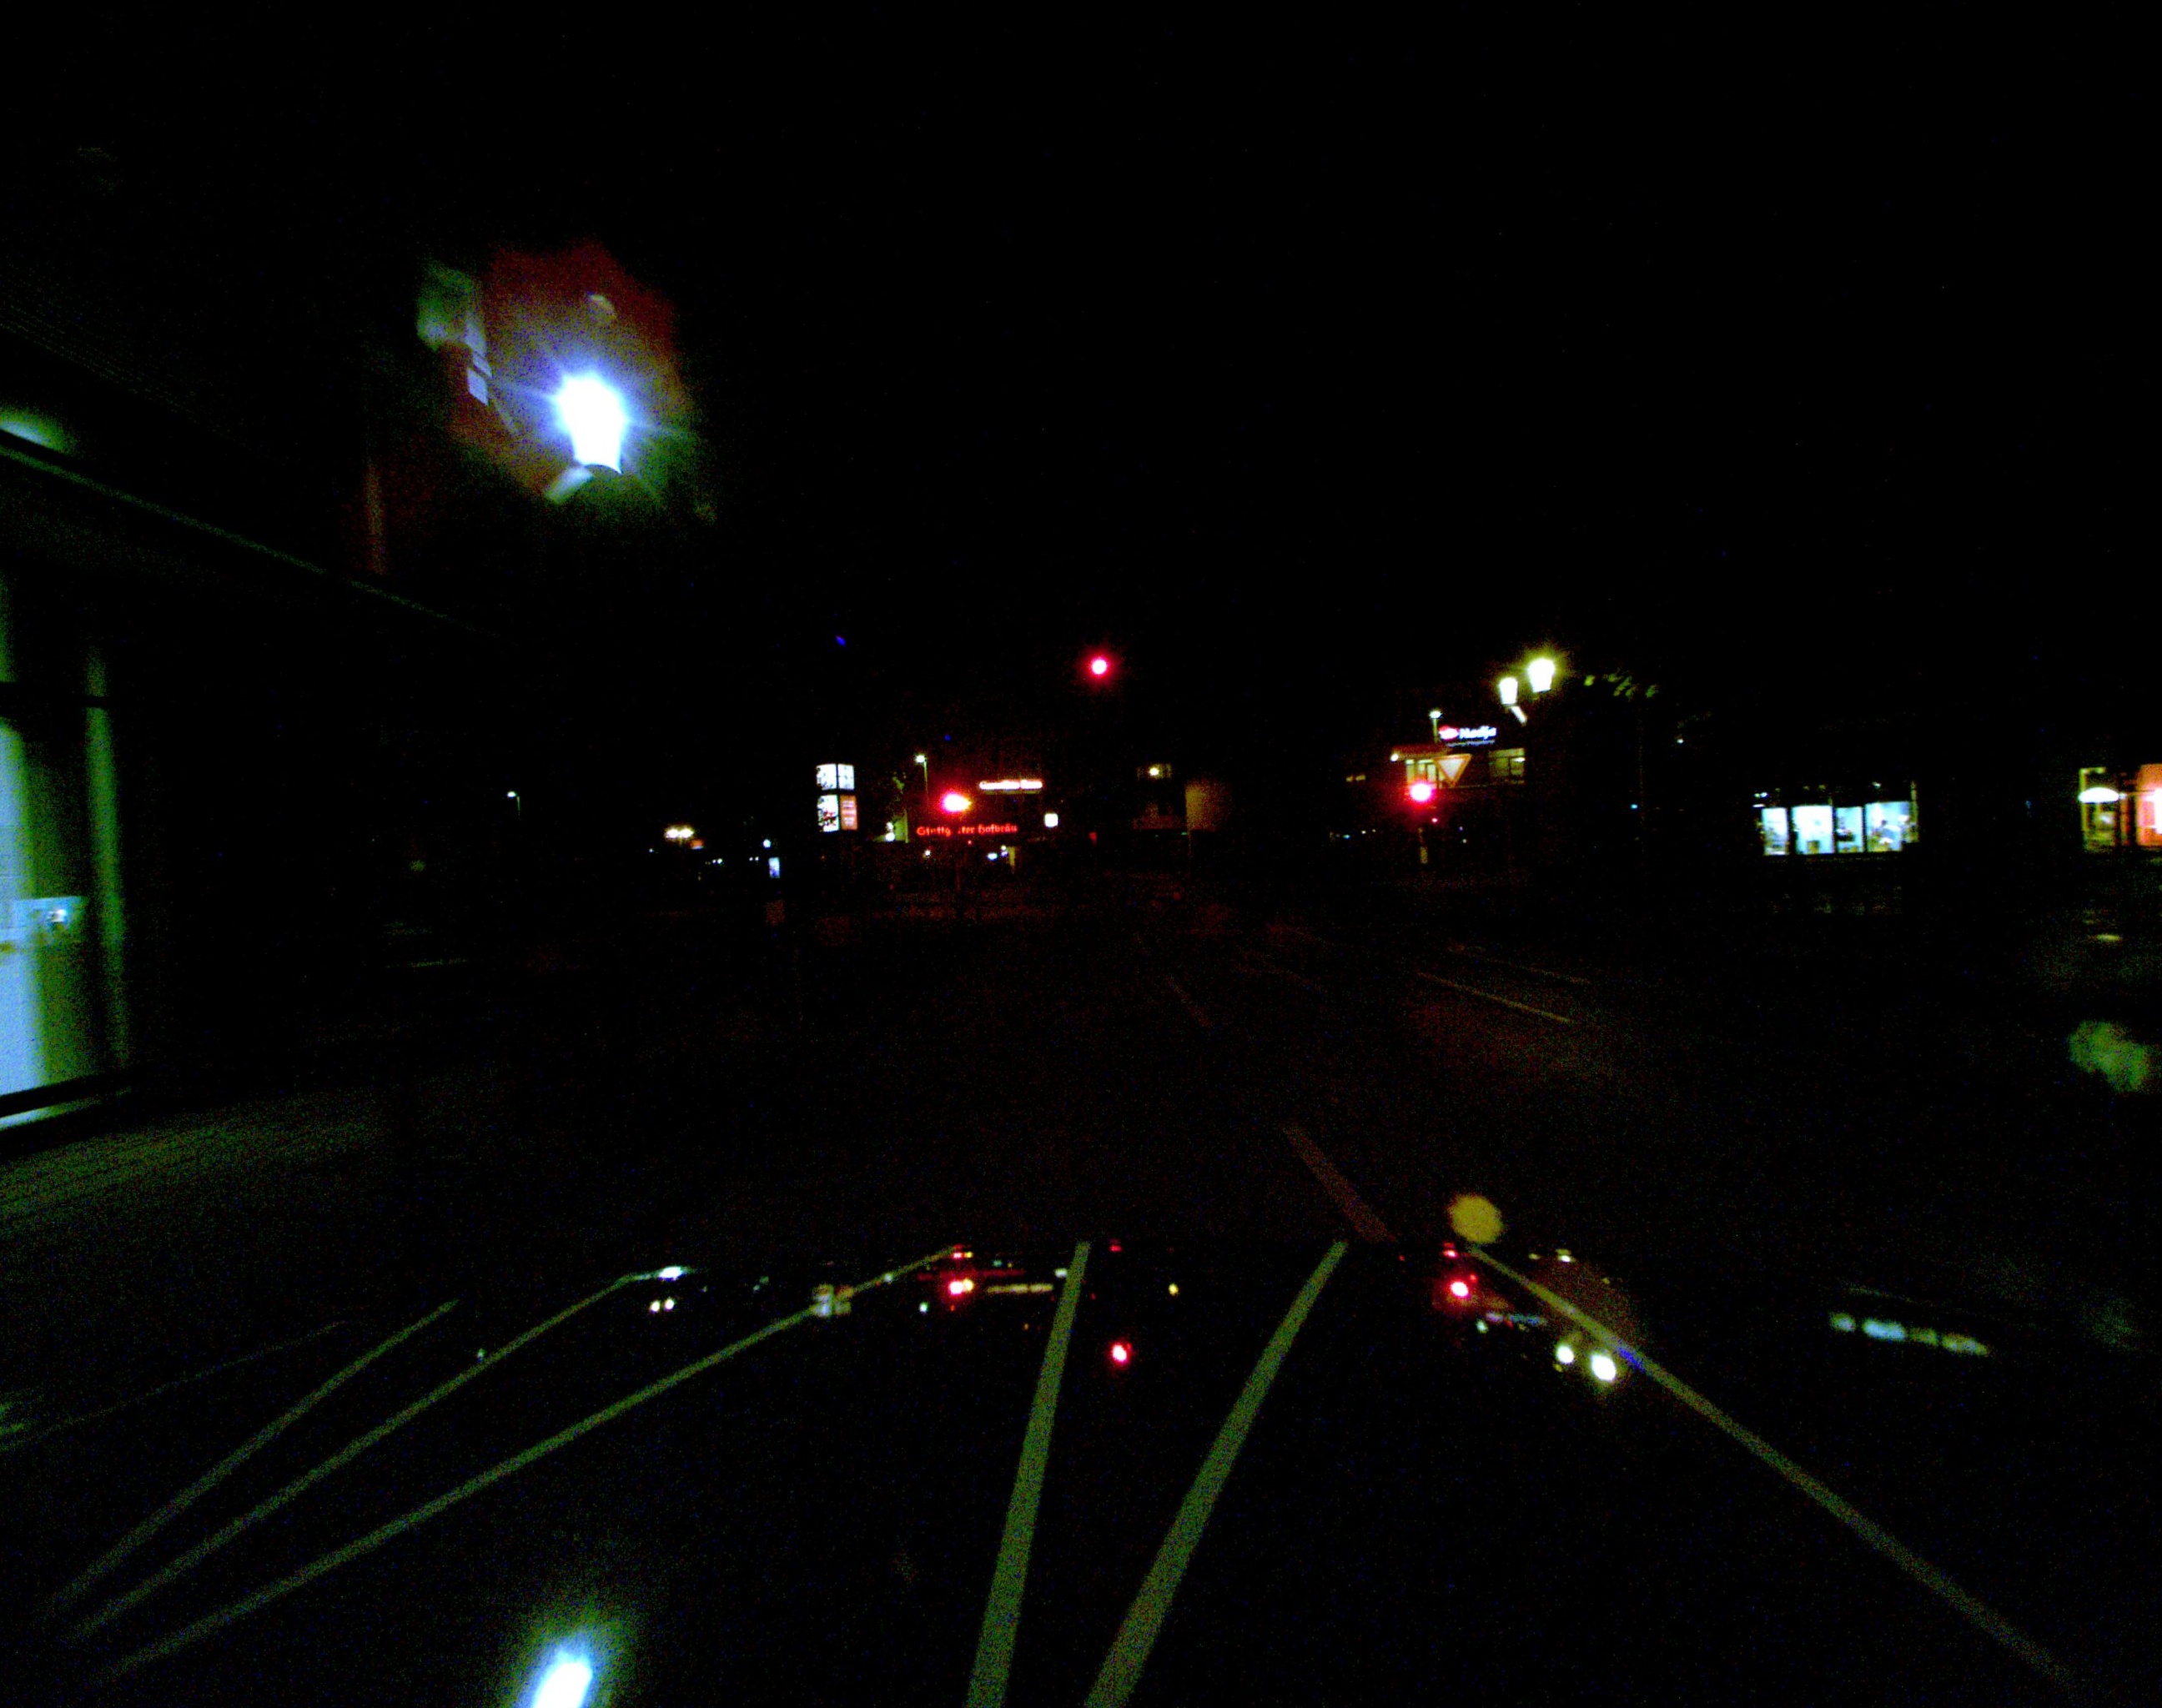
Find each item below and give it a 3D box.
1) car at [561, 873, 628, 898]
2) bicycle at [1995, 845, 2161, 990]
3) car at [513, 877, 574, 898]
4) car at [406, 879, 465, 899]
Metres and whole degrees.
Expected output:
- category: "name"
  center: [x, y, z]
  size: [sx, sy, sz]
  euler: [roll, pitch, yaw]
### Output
- category: "car"
  center: [-34.776, 2.218, 54.358]
  size: [3.856, 1.643, 1.877]
  euler: [-2, -1, 15]
- category: "bicycle"
  center: [9.896, 0.538, 6.994]
  size: [1.838, 1.151, 0.787]
  euler: [-5, 1, 6]
- category: "car"
  center: [-39.485, 2.474, 55.786]
  size: [3.886, 1.444, 1.898]
  euler: [-2, -1, 24]
- category: "car"
  center: [-50.942, 2.731, 59.927]
  size: [3.886, 1.444, 1.898]
  euler: [-2, -1, 21]
